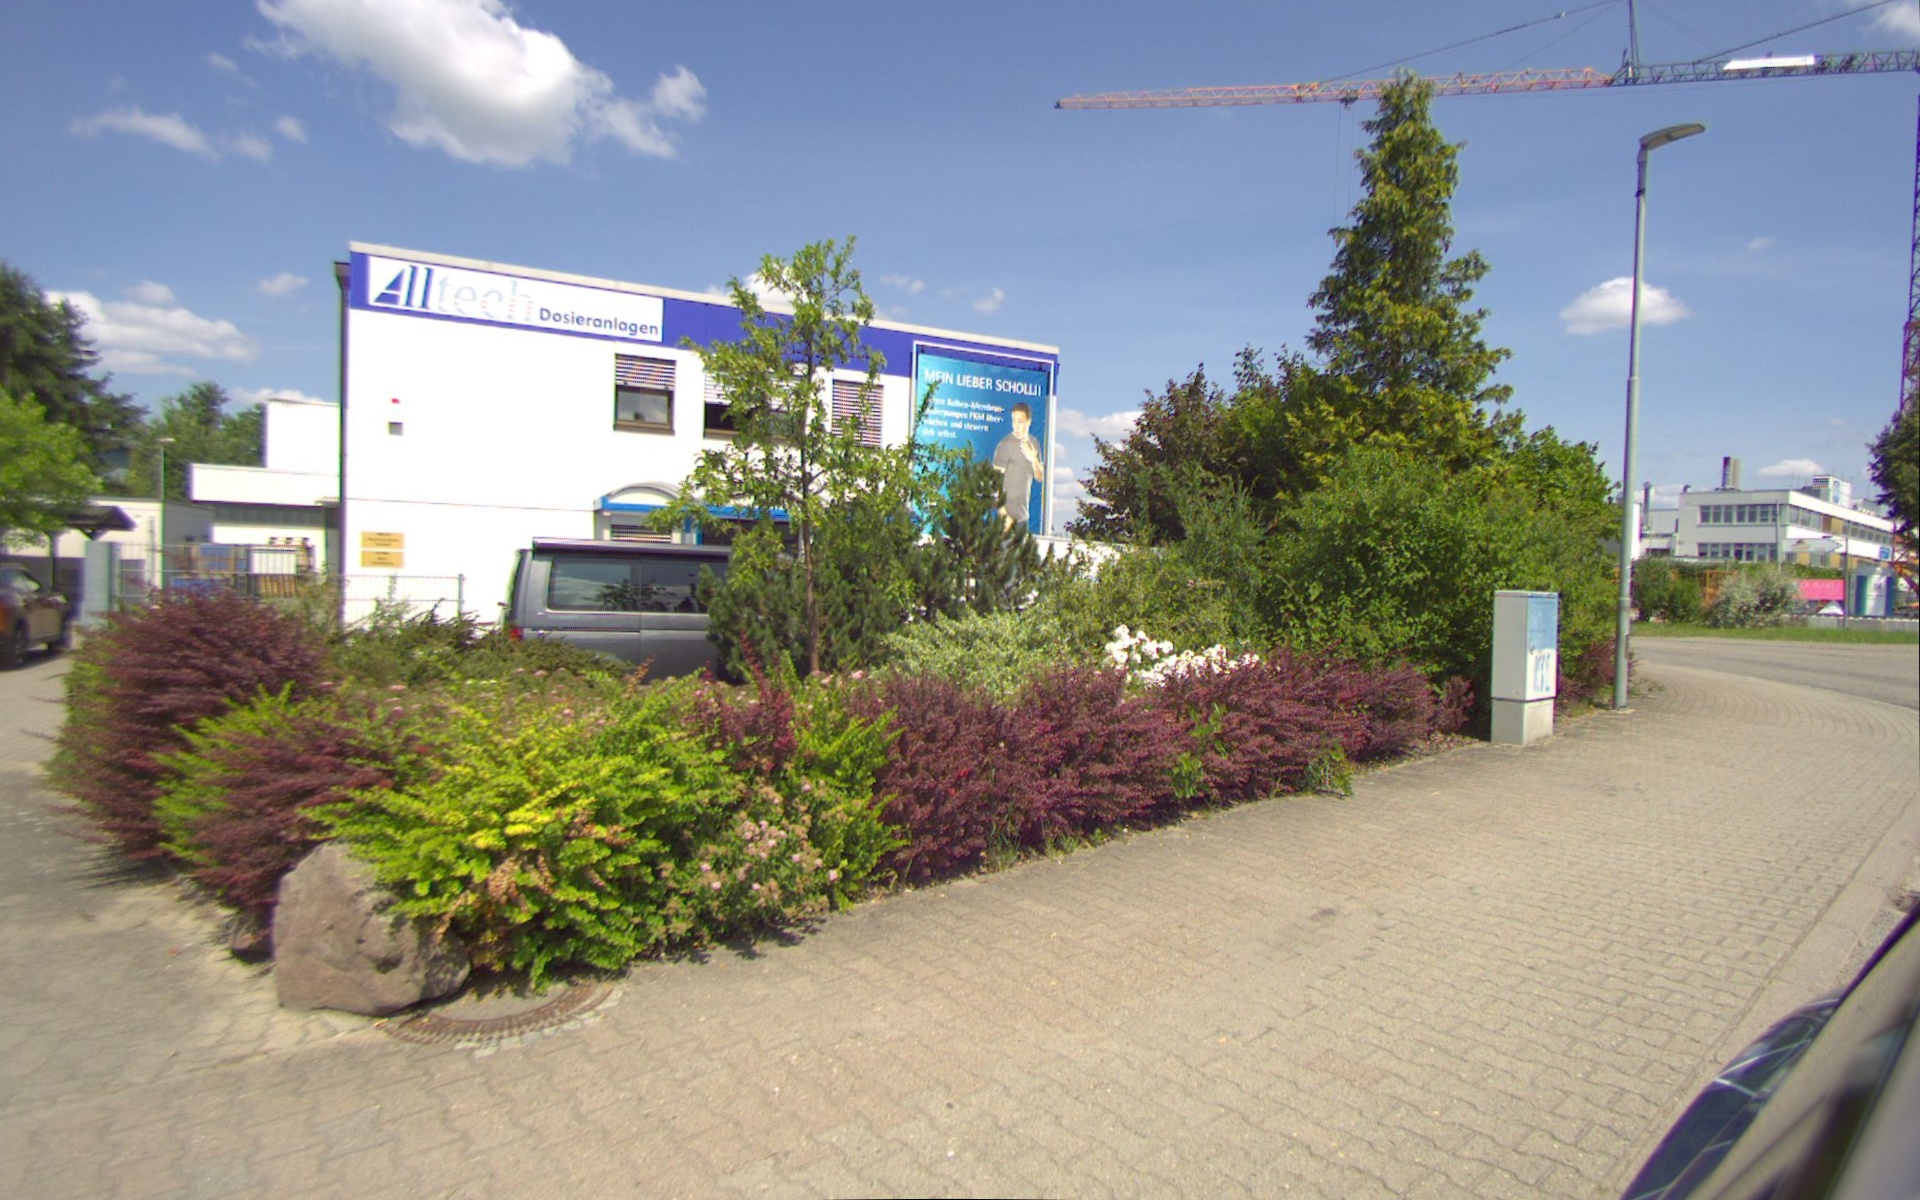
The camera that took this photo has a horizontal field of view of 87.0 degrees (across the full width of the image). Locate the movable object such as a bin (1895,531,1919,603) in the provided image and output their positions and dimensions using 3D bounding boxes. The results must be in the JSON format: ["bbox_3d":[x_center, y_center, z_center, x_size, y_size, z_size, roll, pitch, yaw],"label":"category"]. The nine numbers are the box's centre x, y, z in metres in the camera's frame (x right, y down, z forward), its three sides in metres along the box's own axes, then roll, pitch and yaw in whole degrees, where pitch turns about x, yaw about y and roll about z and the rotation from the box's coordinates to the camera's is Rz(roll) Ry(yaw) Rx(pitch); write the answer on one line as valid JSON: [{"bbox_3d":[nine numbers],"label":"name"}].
[{"bbox_3d":[48.102,-1.552,47.924,5.092,3.329,2.371,3,7,33],"label":"movable object such as a bin"}]

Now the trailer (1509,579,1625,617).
[{"bbox_3d":[33.748,-0.131,56.319,5.368,1.800,1.799,3,4,37],"label":"trailer"}]

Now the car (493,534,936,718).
[{"bbox_3d":[-2.809,0.148,11.795,4.692,1.819,1.908,-1,4,-23],"label":"car"}]

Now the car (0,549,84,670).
[{"bbox_3d":[-15.050,0.074,15.373,1.807,1.681,4.052,0,2,-29],"label":"car"}]
